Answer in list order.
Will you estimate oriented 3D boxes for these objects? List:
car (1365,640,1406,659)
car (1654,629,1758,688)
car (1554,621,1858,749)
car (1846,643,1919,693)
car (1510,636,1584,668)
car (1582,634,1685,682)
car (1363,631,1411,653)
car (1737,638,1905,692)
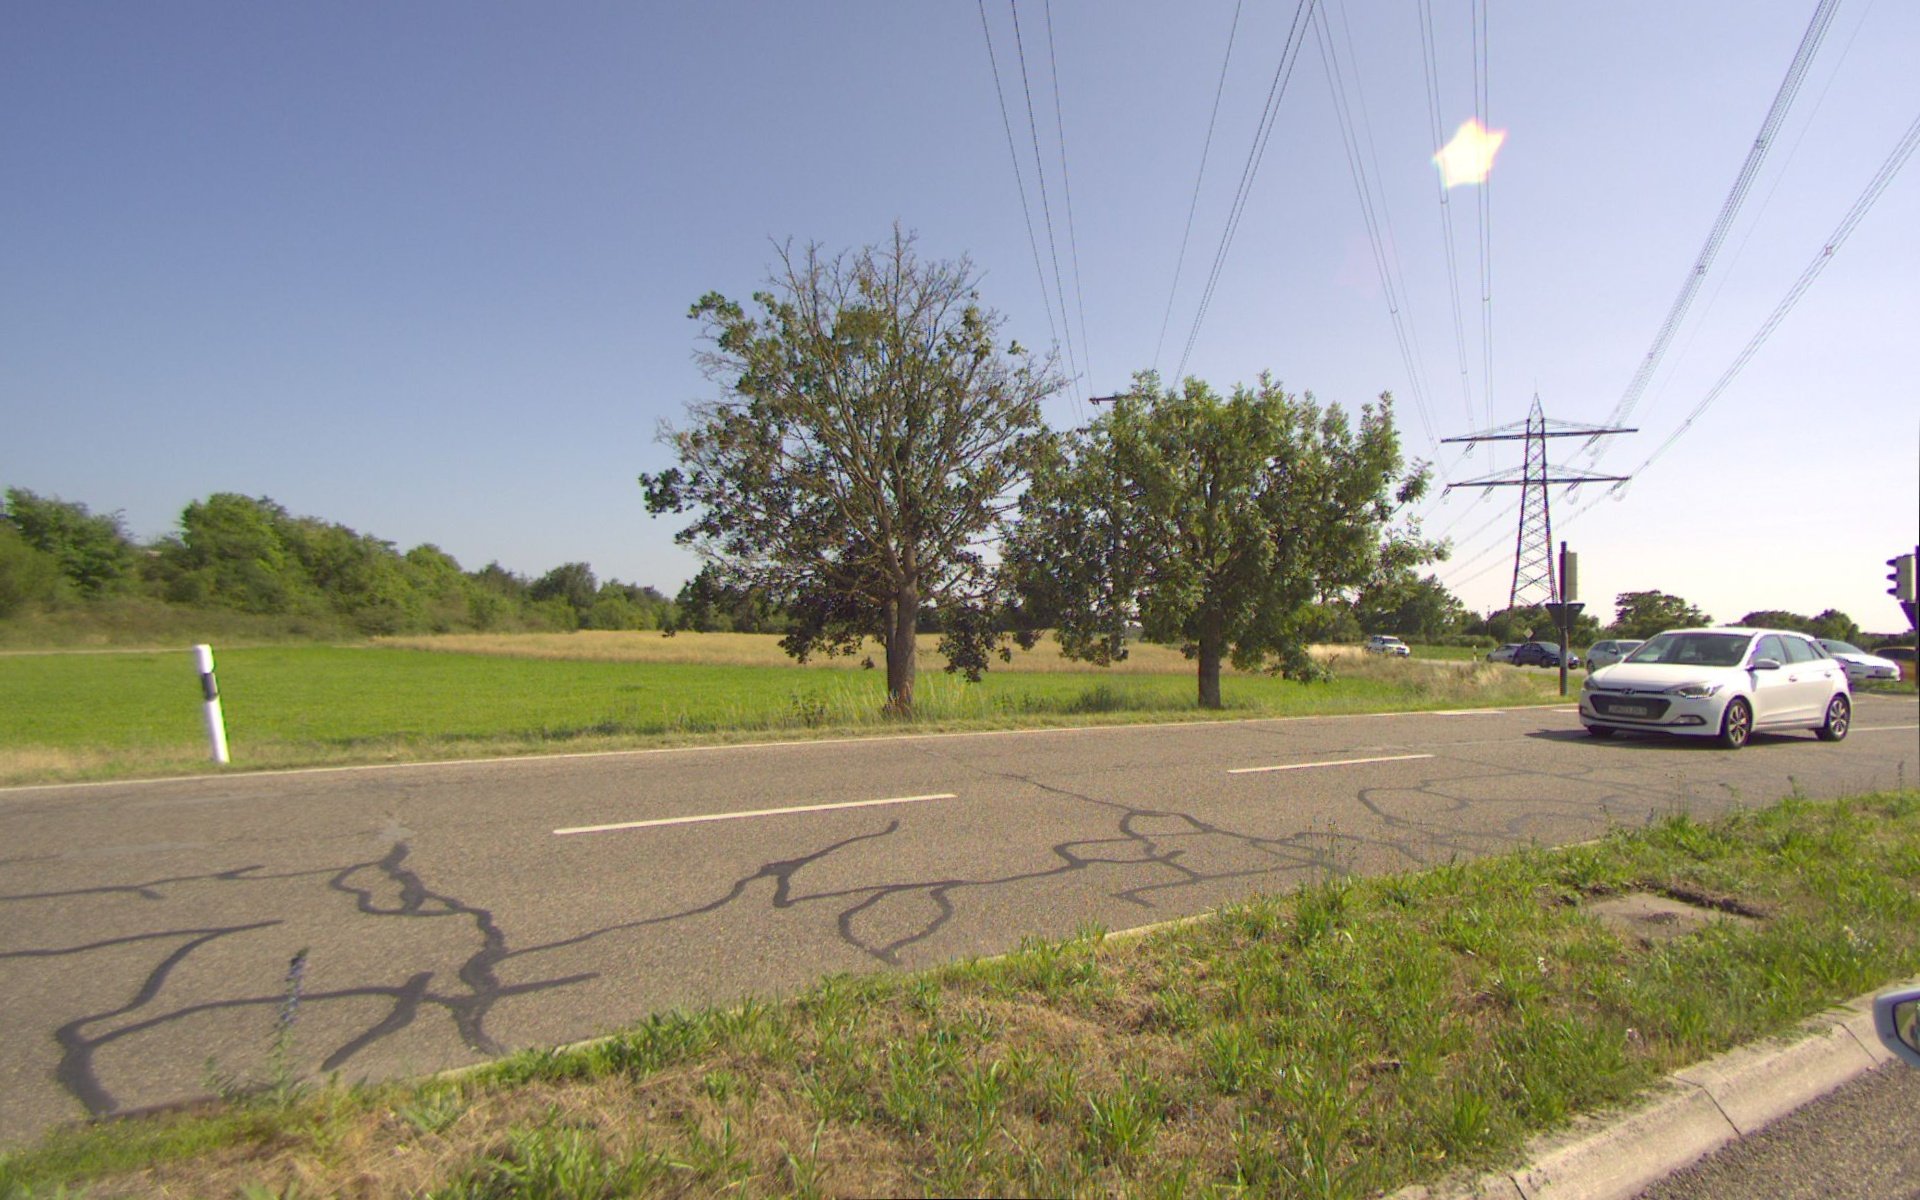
[{"bbox_3d":[37.563,4.378,88.704,1.773,1.539,3.879,1,-2,-4],"label":"car"},{"bbox_3d":[23.127,1.761,31.292,1.786,1.673,3.997,0,-2,25],"label":"car"},{"bbox_3d":[9.969,1.064,13.401,3.861,1.484,1.712,2,-1,-27],"label":"car"},{"bbox_3d":[33.599,2.376,35.043,1.785,1.673,4.000,1,-1,-2],"label":"car"},{"bbox_3d":[33.072,2.904,56.729,1.785,1.673,4.000,1,-1,-2],"label":"car"},{"bbox_3d":[25.343,2.129,37.951,1.783,1.673,4.003,1,-2,10],"label":"car"},{"bbox_3d":[32.367,3.157,76.256,1.785,1.505,3.998,1,0,-3],"label":"car"},{"bbox_3d":[30.358,2.239,35.635,1.785,1.673,4.761,1,-1,-2],"label":"car"}]
